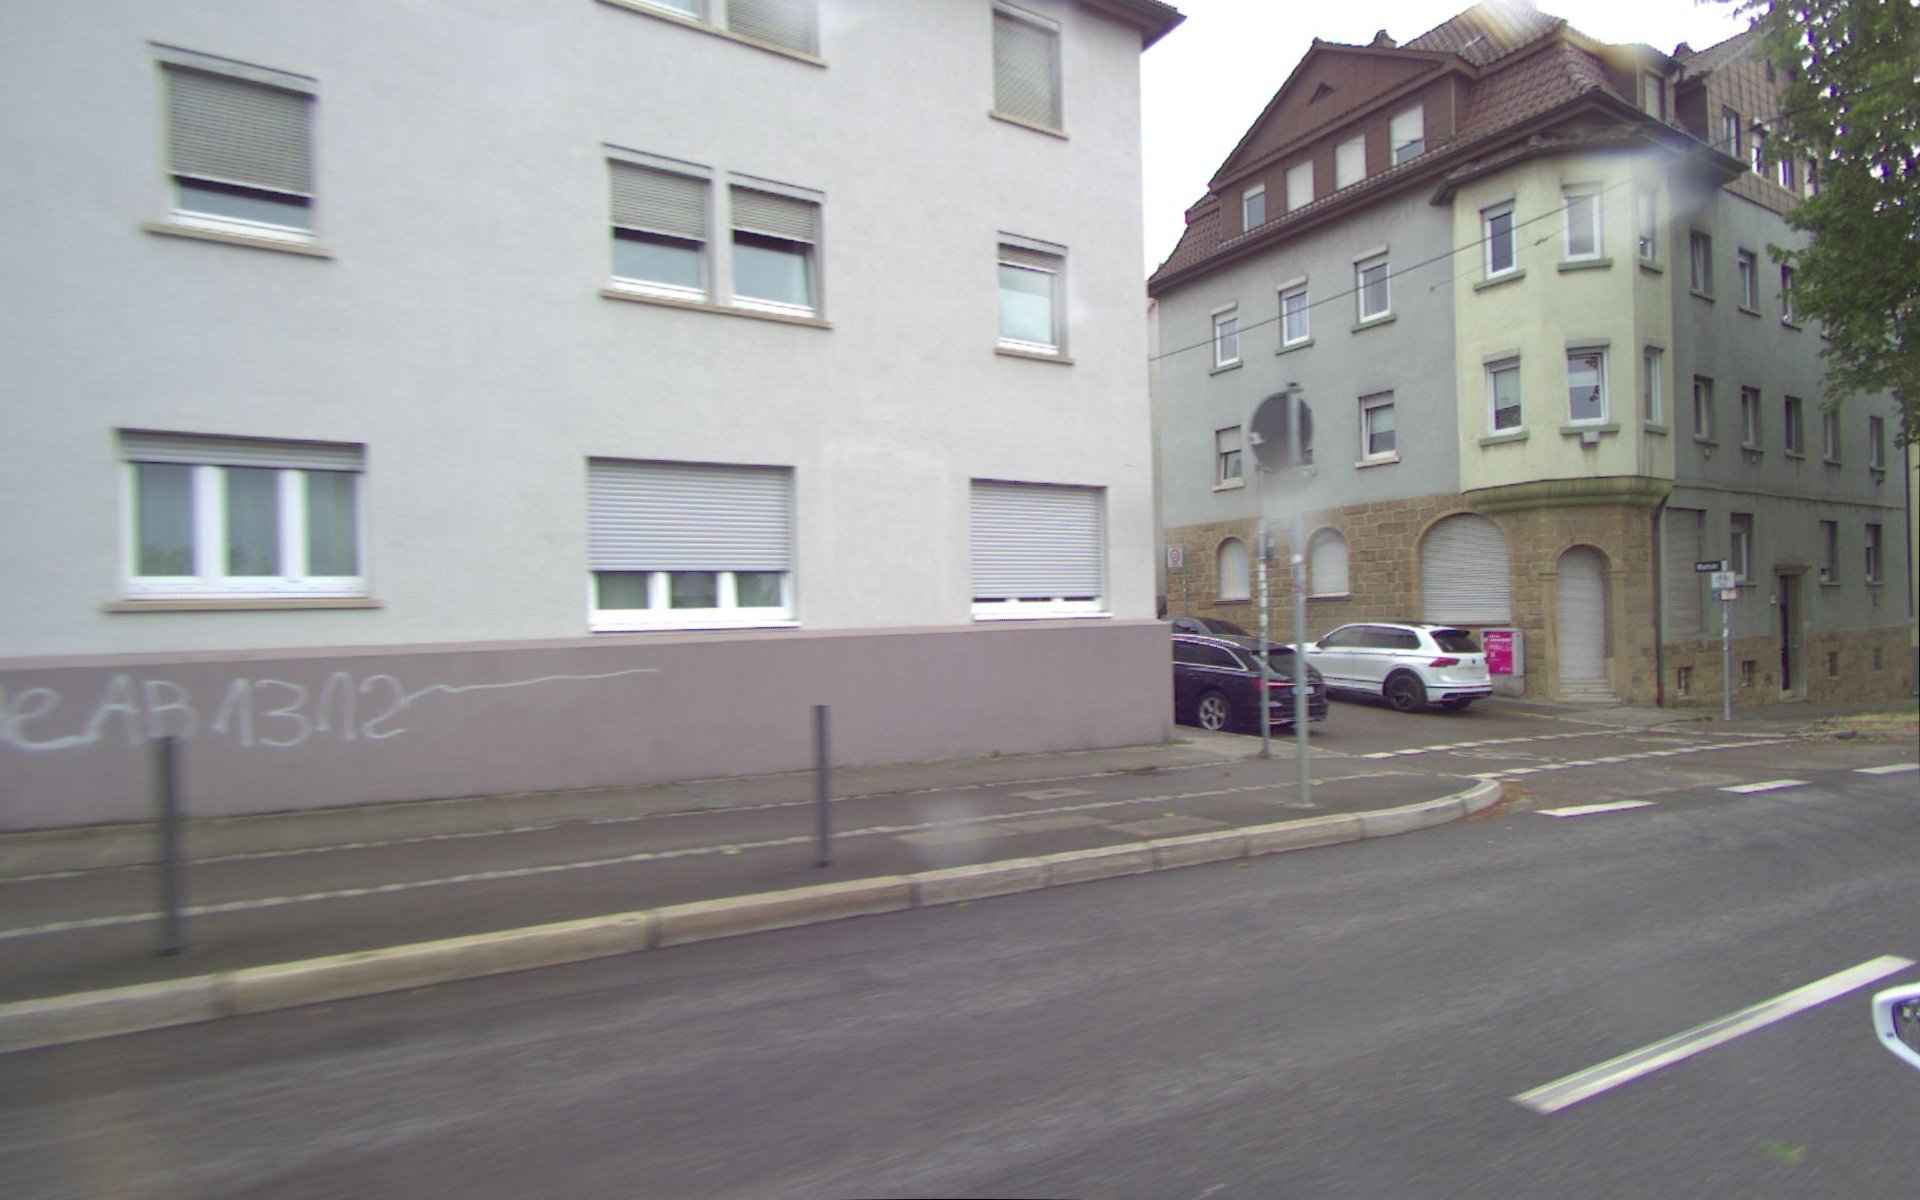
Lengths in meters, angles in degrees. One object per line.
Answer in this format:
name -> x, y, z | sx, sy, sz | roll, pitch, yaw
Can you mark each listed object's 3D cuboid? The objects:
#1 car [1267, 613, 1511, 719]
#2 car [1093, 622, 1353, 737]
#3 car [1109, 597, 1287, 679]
car -> 8.560, 1.230, 20.419 | 1.977, 1.727, 4.160 | 1, 2, -31
car -> 4.278, 1.218, 16.941 | 1.978, 1.472, 3.965 | 1, 2, -32
car -> 5.841, 0.867, 25.115 | 1.977, 1.727, 4.160 | 1, 2, -31
